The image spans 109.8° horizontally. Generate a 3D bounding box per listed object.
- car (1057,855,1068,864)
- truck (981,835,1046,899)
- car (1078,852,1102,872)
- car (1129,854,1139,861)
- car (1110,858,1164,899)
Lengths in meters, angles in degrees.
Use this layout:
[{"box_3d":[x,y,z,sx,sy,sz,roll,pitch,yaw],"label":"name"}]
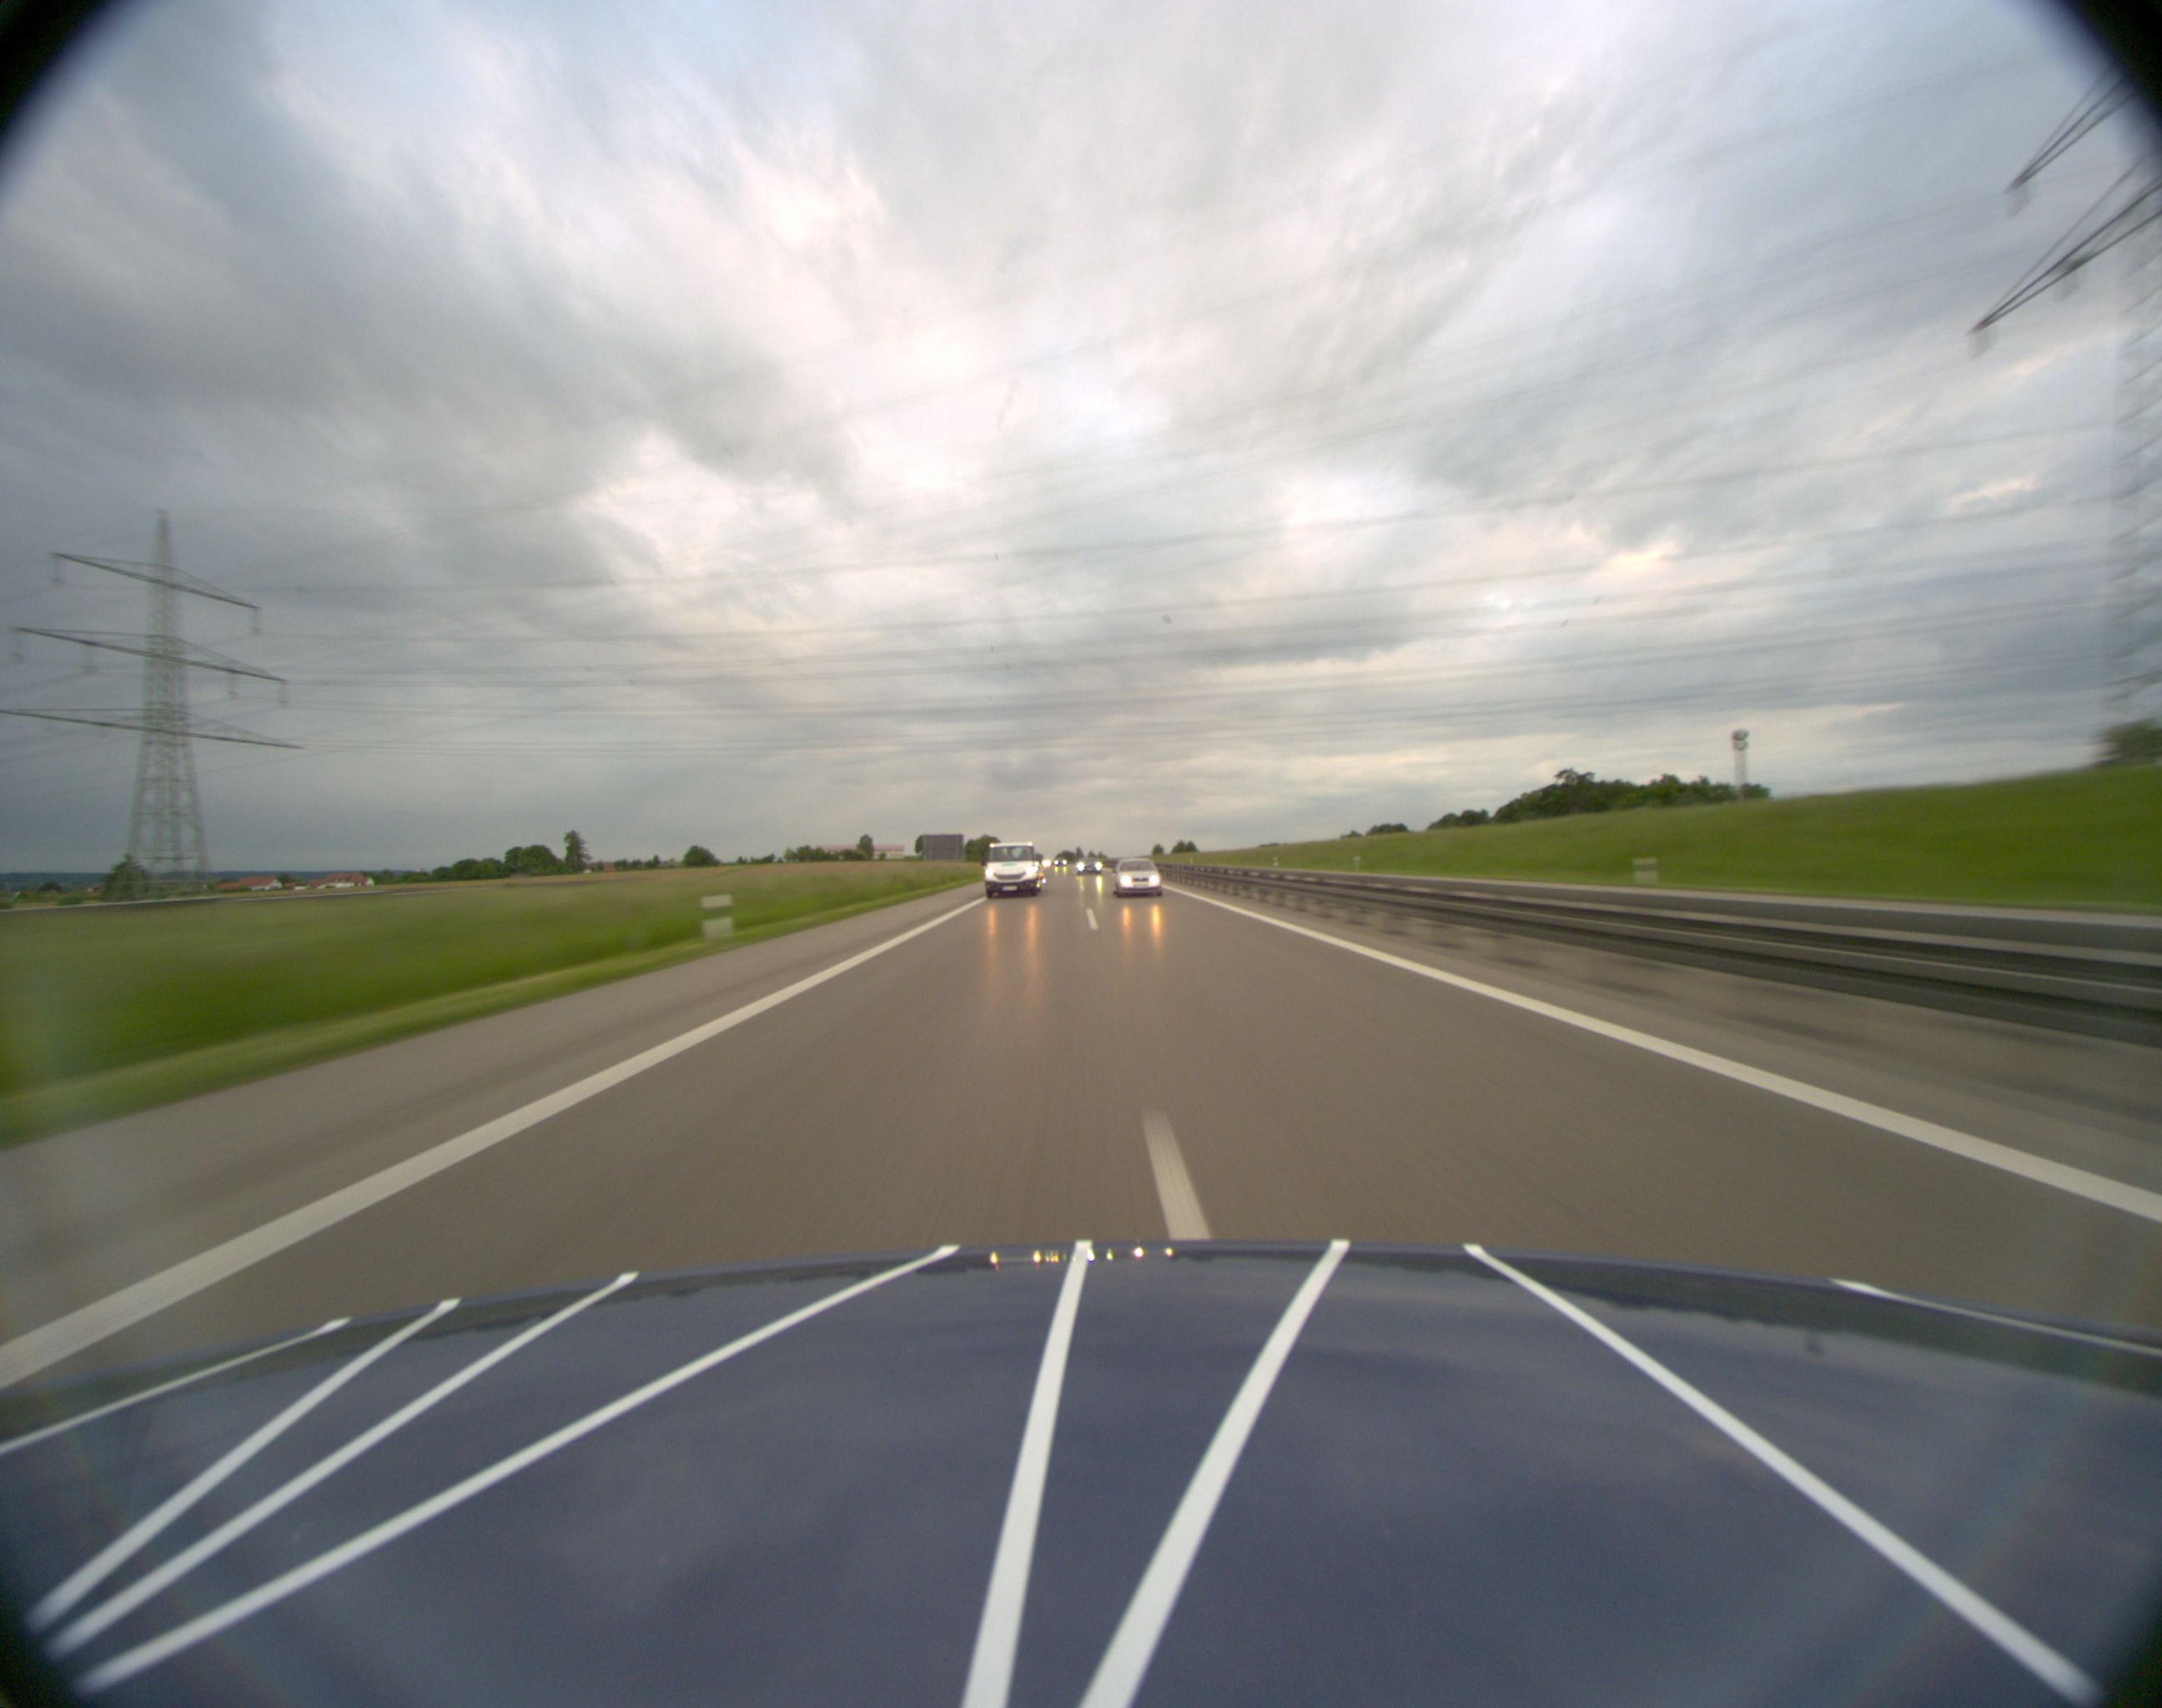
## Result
[{"box_3d":[-3.403,0.967,139.353,1.808,1.619,3.901,-1,0,-7],"label":"car"},{"box_3d":[-2.775,0.503,33.053,2.177,2.346,7.695,-3,0,-1],"label":"truck"},{"box_3d":[0.749,0.657,65.108,1.951,1.620,4.535,-1,0,0],"label":"car"},{"box_3d":[11.900,0.817,170.519,1.769,1.473,5.333,-3,0,0],"label":"car"},{"box_3d":[2.050,0.868,28.813,1.592,1.381,4.600,0,1,-2],"label":"car"}]
